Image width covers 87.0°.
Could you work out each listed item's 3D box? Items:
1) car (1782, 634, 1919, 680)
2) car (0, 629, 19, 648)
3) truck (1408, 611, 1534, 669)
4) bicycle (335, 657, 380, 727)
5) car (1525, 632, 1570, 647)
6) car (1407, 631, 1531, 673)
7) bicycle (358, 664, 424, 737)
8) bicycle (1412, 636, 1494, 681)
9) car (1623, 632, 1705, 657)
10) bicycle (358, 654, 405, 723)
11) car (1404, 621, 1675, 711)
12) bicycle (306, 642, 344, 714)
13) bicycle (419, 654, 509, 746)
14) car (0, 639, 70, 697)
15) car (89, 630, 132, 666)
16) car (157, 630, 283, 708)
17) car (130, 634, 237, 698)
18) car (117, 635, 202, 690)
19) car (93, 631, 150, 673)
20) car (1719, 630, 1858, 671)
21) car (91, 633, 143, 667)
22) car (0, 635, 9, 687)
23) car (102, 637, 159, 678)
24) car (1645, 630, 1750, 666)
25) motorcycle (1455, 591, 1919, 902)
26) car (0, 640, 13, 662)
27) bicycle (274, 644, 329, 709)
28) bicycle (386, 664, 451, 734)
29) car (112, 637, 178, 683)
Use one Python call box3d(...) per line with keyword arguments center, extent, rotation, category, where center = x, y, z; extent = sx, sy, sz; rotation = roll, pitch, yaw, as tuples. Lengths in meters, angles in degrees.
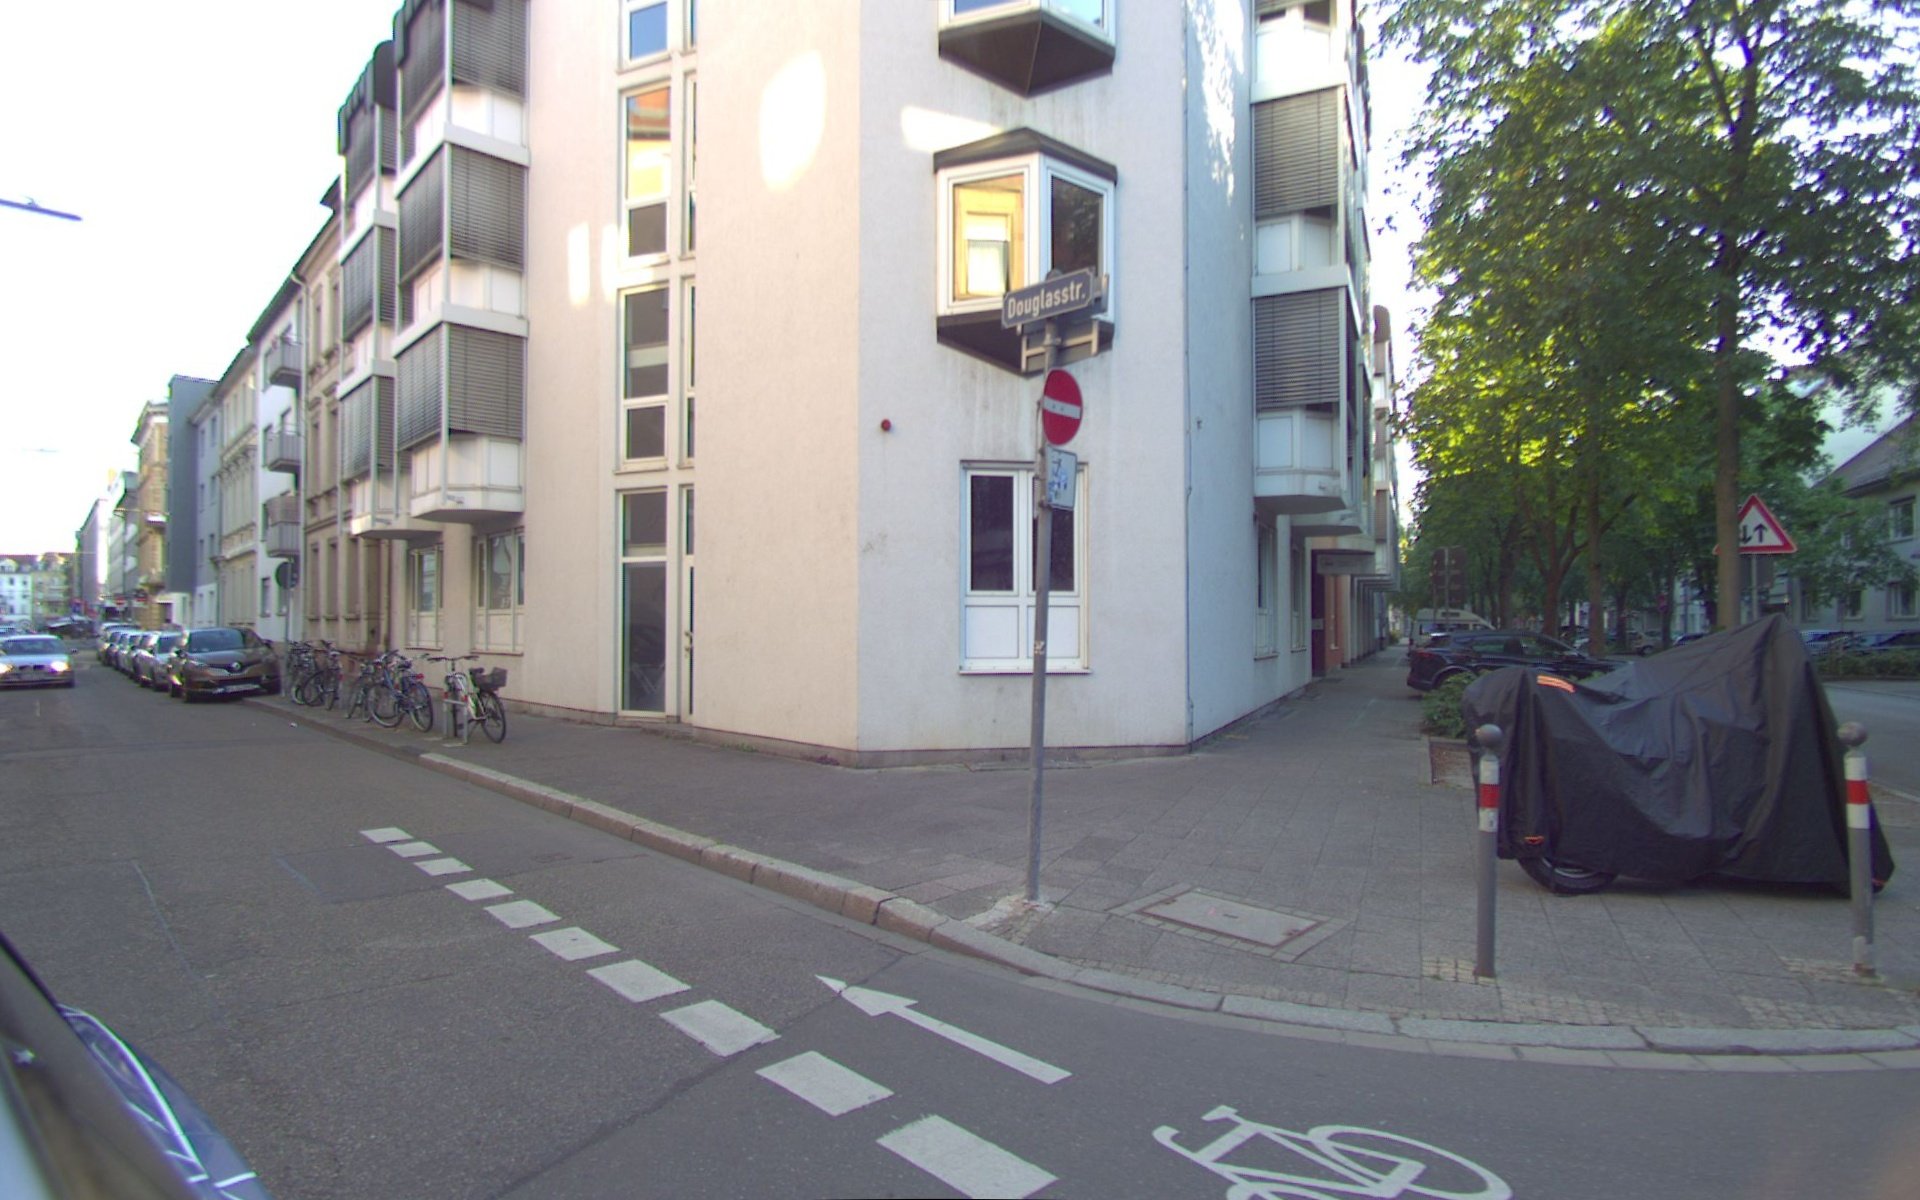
box3d(center=(29.108, 1.834, 32.661), extent=(3.646, 1.403, 1.553), rotation=(-2, -2, 24), category="car")
box3d(center=(-70.176, 2.833, 74.102), extent=(1.704, 1.409, 3.897), rotation=(1, -2, -41), category="car")
box3d(center=(23.020, 1.747, 45.774), extent=(4.990, 2.459, 1.898), rotation=(0, -1, 27), category="truck")
box3d(center=(-9.719, 1.452, 16.299), extent=(0.303, 1.050, 1.815), rotation=(0, -2, -41), category="bicycle")
box3d(center=(57.334, 3.831, 98.838), extent=(3.646, 1.403, 1.553), rotation=(-1, -2, 24), category="car")
box3d(center=(19.250, 1.950, 38.459), extent=(4.122, 1.483, 1.626), rotation=(0, -2, 26), category="car")
box3d(center=(-8.146, 1.409, 14.465), extent=(1.813, 0.939, 0.303), rotation=(-2, -2, 44), category="bicycle")
box3d(center=(13.626, 1.609, 27.994), extent=(1.958, 1.208, 0.499), rotation=(-1, -2, 15), category="bicycle")
box3d(center=(41.034, 2.607, 59.067), extent=(3.646, 1.403, 1.553), rotation=(-1, -2, 24), category="car")
box3d(center=(-9.487, 1.419, 16.567), extent=(0.303, 1.050, 1.815), rotation=(0, -2, -41), category="bicycle")
box3d(center=(10.933, 1.198, 19.490), extent=(4.346, 1.520, 1.819), rotation=(0, -2, 26), category="car")
box3d(center=(-11.559, 1.387, 18.396), extent=(0.303, 1.232, 1.815), rotation=(0, -2, -41), category="bicycle")
box3d(center=(-6.478, 1.263, 13.168), extent=(1.812, 1.111, 0.396), rotation=(-2, -2, 42), category="bicycle")
box3d(center=(-25.414, 1.801, 27.587), extent=(1.657, 1.414, 4.476), rotation=(-1, -1, -42), category="car")
box3d(center=(-45.197, 2.518, 53.837), extent=(1.618, 1.810, 3.788), rotation=(1, -2, -42), category="car")
box3d(center=(-16.900, 1.507, 23.051), extent=(1.770, 1.588, 4.073), rotation=(1, -2, -44), category="car")
box3d(center=(-20.968, 1.718, 27.264), extent=(1.770, 1.551, 4.437), rotation=(1, -2, -44), category="car")
box3d(center=(-24.998, 1.898, 31.545), extent=(1.769, 1.551, 4.499), rotation=(1, -2, -42), category="car")
box3d(center=(-36.837, 2.257, 44.414), extent=(1.619, 1.724, 3.786), rotation=(1, -2, -44), category="car")
box3d(center=(31.904, 1.950, 39.087), extent=(3.781, 1.541, 1.553), rotation=(-2, -2, 24), category="car")
box3d(center=(-41.086, 2.412, 49.309), extent=(1.619, 1.592, 3.786), rotation=(1, -2, -44), category="car")
box3d(center=(-30.811, 1.903, 31.588), extent=(1.551, 1.591, 3.593), rotation=(1, -2, -42), category="car")
box3d(center=(-32.742, 2.233, 39.913), extent=(1.618, 1.500, 3.960), rotation=(1, -2, -41), category="car")
box3d(center=(34.738, 2.282, 47.777), extent=(3.646, 1.548, 1.553), rotation=(-3, -3, 24), category="car")
box3d(center=(3.973, 0.753, 5.529), extent=(2.135, 1.567, 0.668), rotation=(0, -2, 5), category="motorcycle")
box3d(center=(-63.182, 3.355, 66.168), extent=(1.704, 1.409, 3.897), rotation=(1, -2, -41), category="car")
box3d(center=(-13.032, 1.482, 19.994), extent=(0.588, 1.196, 2.268), rotation=(0, -2, -41), category="bicycle")
box3d(center=(-7.877, 1.407, 14.687), extent=(1.814, 0.939, 0.303), rotation=(-3, -3, 45), category="bicycle")
box3d(center=(-29.163, 2.108, 36.179), extent=(1.618, 1.500, 3.793), rotation=(1, -2, -42), category="car")
